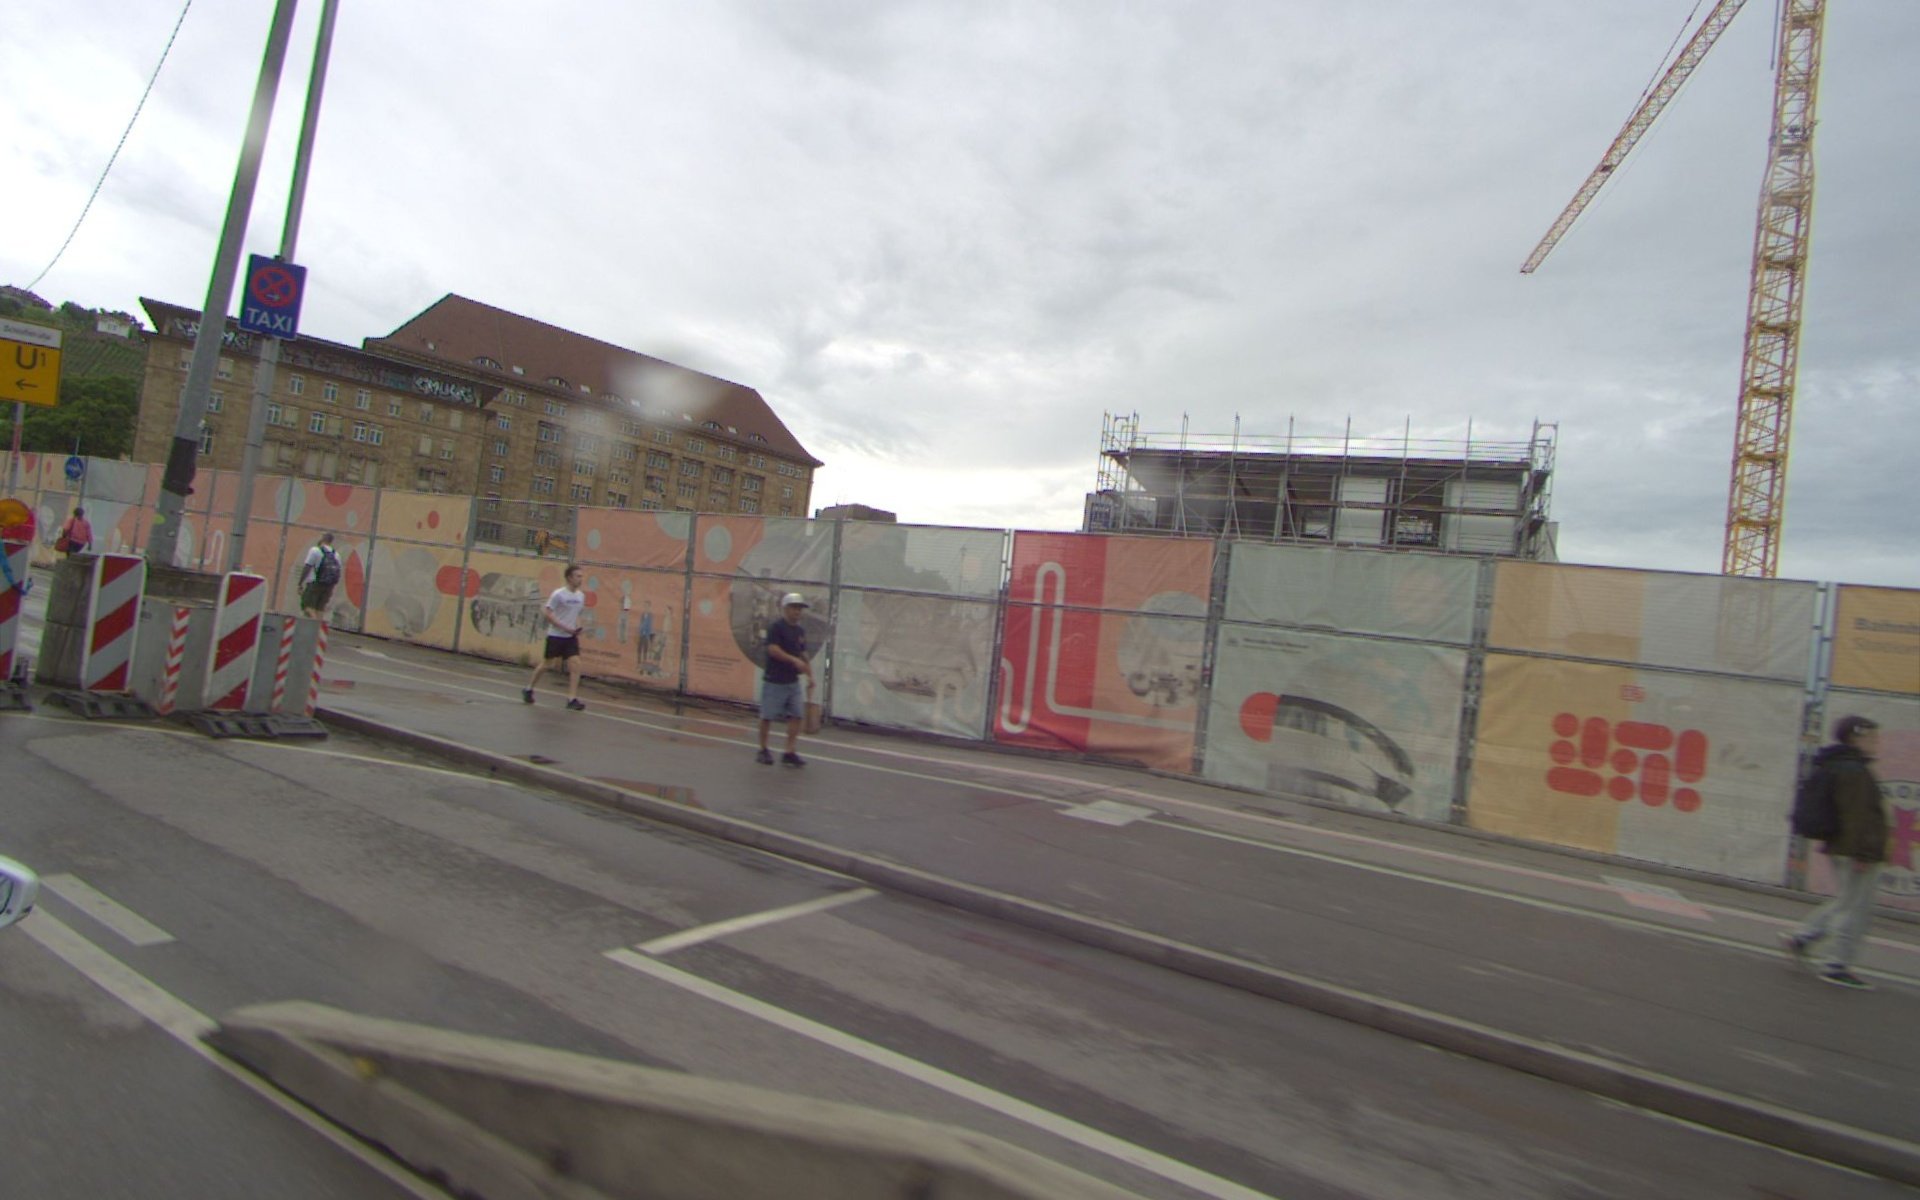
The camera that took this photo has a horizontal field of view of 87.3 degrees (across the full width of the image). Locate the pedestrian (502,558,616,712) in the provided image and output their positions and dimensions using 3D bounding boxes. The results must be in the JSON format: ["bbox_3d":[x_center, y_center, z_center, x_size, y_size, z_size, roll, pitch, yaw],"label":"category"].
[{"bbox_3d":[-4.953,0.437,12.434,0.892,1.760,0.685,7,-1,28],"label":"pedestrian"}]

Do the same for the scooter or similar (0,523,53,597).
[{"bbox_3d":[-17.010,-0.753,17.980,1.389,1.196,0.469,7,-1,20],"label":"scooter or similar"}]

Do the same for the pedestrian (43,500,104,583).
[{"bbox_3d":[-21.750,-1.426,24.691,0.697,1.887,0.721,7,-1,28],"label":"pedestrian"}]

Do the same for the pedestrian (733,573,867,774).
[{"bbox_3d":[-1.520,0.695,9.601,0.823,1.760,0.644,7,-1,28],"label":"pedestrian"}]

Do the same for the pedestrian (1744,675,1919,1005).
[{"bbox_3d":[5.718,1.495,6.540,0.681,1.910,0.685,7,-1,27],"label":"pedestrian"}]

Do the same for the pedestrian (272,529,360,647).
[{"bbox_3d":[-11.184,-0.205,17.479,0.973,1.887,0.705,7,-1,30],"label":"pedestrian"}]
